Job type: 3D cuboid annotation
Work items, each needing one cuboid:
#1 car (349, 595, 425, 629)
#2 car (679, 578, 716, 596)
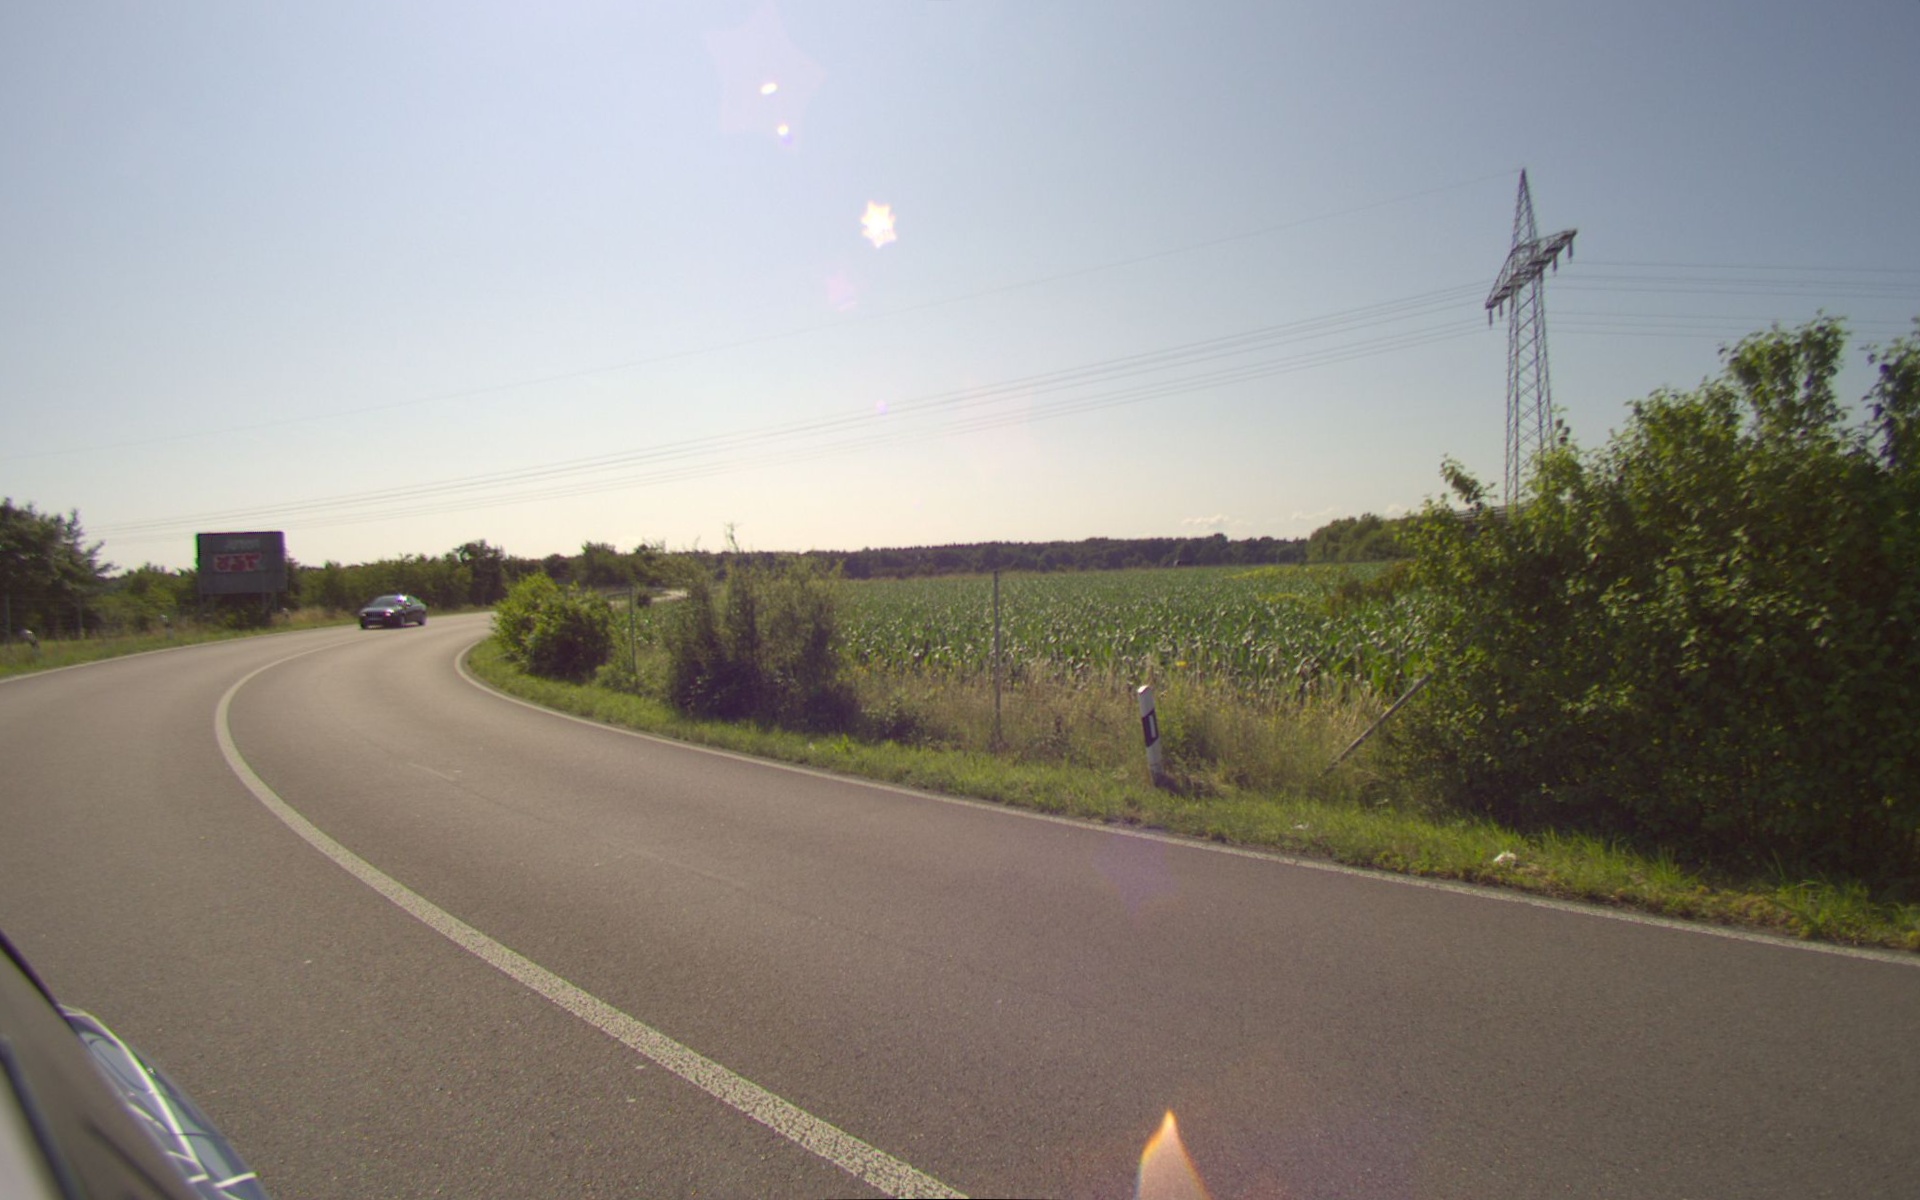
[{"bbox_3d":[-26.150,0.535,46.325,1.857,1.467,4.085,0,0,-11],"label":"car"},{"bbox_3d":[-23.516,-1.193,90.965,1.847,1.491,5.133,0,3,2],"label":"car"}]
